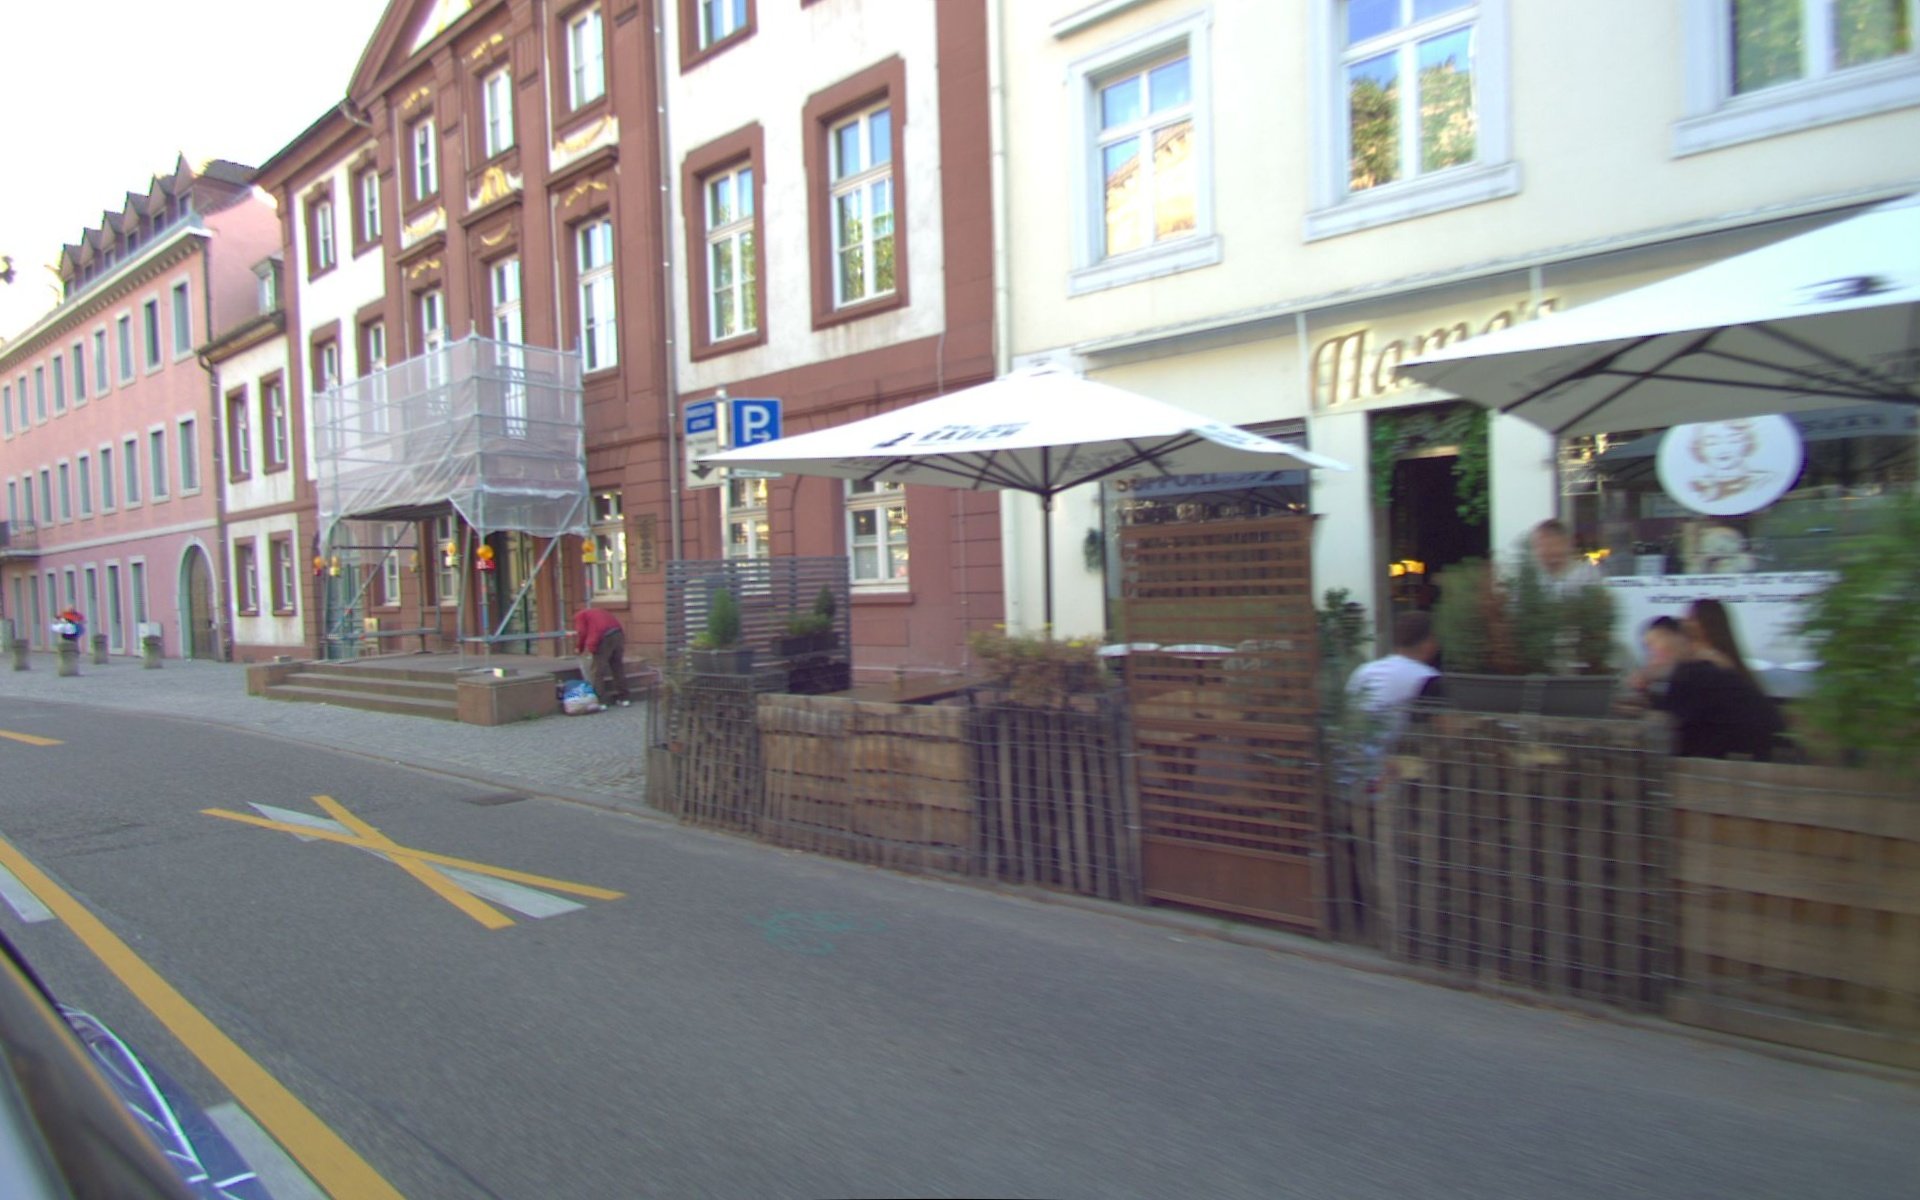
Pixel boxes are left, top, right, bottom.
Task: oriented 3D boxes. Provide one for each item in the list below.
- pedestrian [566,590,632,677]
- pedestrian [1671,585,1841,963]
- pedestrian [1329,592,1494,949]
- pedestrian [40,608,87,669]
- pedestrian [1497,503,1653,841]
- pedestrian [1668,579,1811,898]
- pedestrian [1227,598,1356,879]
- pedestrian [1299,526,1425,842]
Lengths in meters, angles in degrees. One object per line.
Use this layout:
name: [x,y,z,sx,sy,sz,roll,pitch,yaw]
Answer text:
pedestrian: [-4.629,0.425,12.990,0.550,1.060,0.532,-2,2,35]
pedestrian: [3.225,0.651,4.131,0.487,1.401,0.518,-2,1,36]
pedestrian: [1.991,0.698,4.463,0.502,1.444,0.465,-1,1,44]
pedestrian: [-26.033,1.108,29.388,0.867,1.701,0.784,-1,2,36]
pedestrian: [3.463,0.375,5.709,0.432,1.788,0.599,-3,1,-38]
pedestrian: [3.693,0.613,4.819,0.487,1.401,0.518,-2,1,36]
pedestrian: [1.789,0.705,5.454,0.487,1.401,0.518,-2,1,36]
pedestrian: [2.420,0.468,6.084,0.588,1.788,0.439,-3,1,-42]
